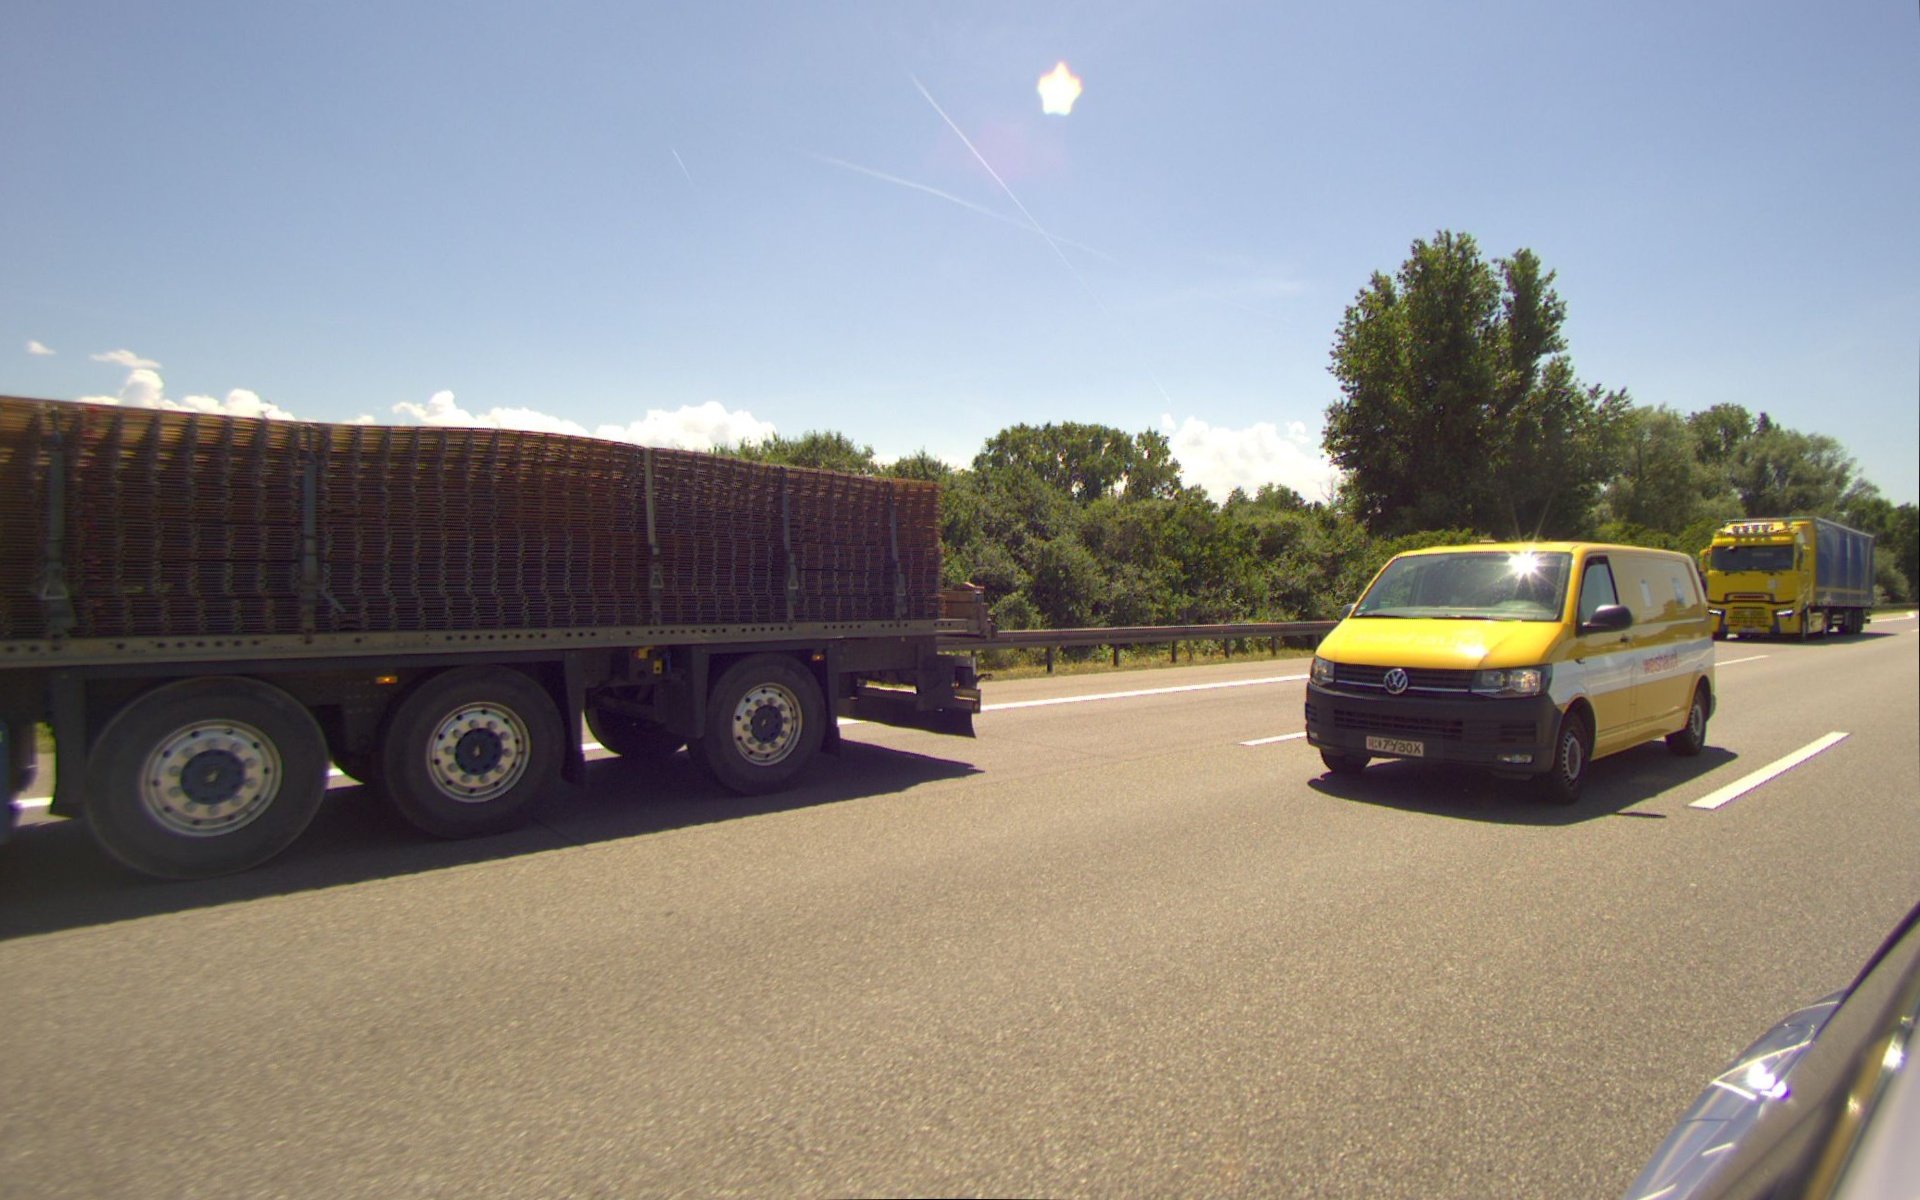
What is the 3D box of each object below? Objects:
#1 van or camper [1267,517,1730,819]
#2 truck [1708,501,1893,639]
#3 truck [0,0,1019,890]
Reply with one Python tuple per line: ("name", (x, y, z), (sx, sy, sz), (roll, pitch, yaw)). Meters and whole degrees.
("van or camper", (4.909, 0.411, 8.858), (4.885, 1.933, 1.997), (0, 0, -41))
("truck", (32.142, -1.131, 38.211), (16.502, 4.310, 2.850), (-1, 2, -42))
("truck", (-6.575, -0.688, 4.470), (16.327, 4.007, 2.974), (-1, 1, -42))
